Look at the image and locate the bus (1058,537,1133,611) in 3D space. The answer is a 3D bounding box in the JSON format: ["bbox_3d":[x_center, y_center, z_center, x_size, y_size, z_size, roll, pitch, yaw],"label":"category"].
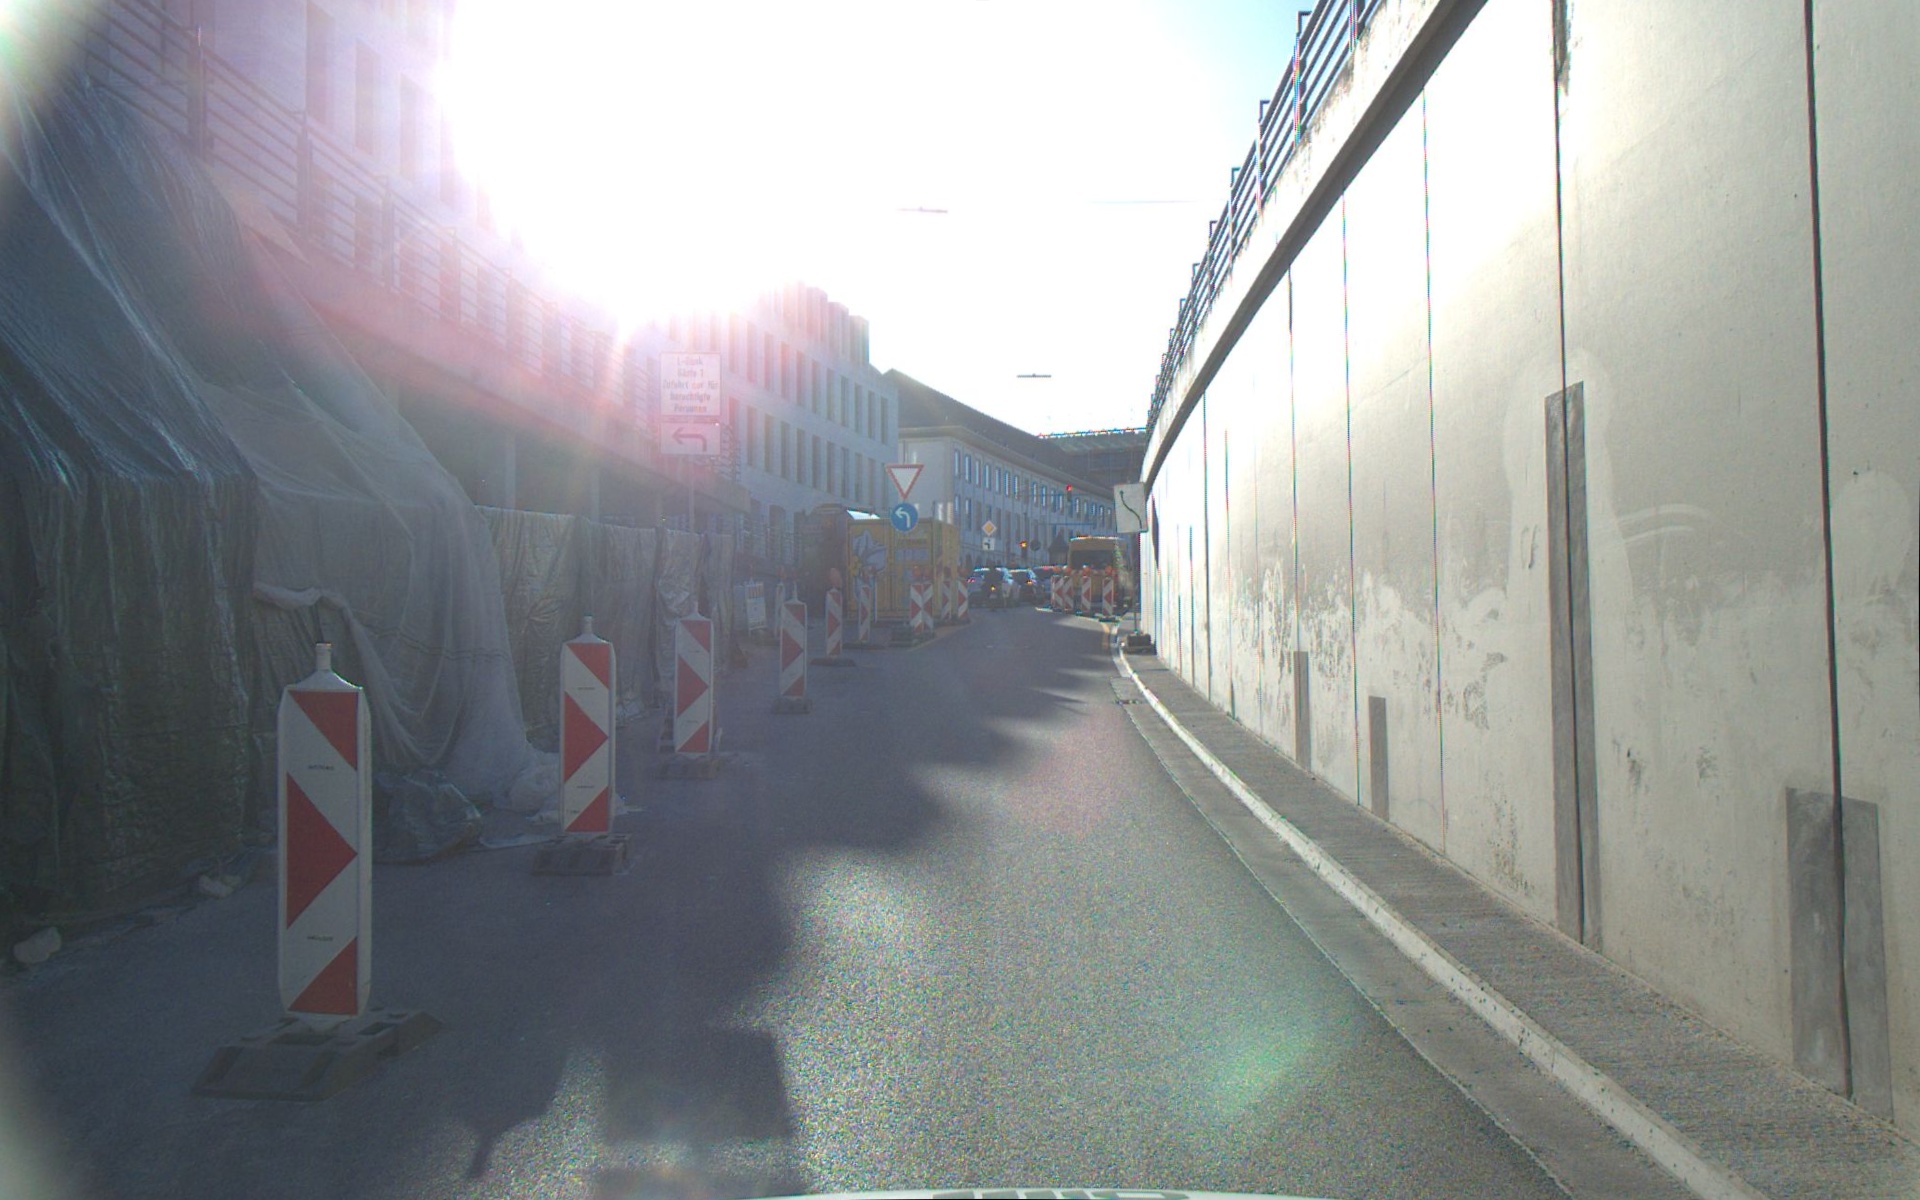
[{"bbox_3d":[4.994,-0.922,60.329,2.177,2.602,4.431,0,0,12],"label":"bus"}]

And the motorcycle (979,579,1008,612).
[{"bbox_3d":[1.160,-0.141,56.669,0.755,1.010,2.185,0,-3,7],"label":"motorcycle"}]

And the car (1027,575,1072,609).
[{"bbox_3d":[4.280,-0.376,78.607,1.817,1.560,4.003,1,0,7],"label":"car"}]

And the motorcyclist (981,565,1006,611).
[{"bbox_3d":[1.151,-0.397,56.646,0.787,1.531,0.777,0,-3,7],"label":"motorcyclist"}]

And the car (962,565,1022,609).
[{"bbox_3d":[1.269,-0.481,63.418,1.738,1.632,4.003,1,0,9],"label":"car"}]

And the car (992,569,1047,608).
[{"bbox_3d":[2.532,-0.464,69.784,1.782,1.560,4.003,1,0,10],"label":"car"}]
